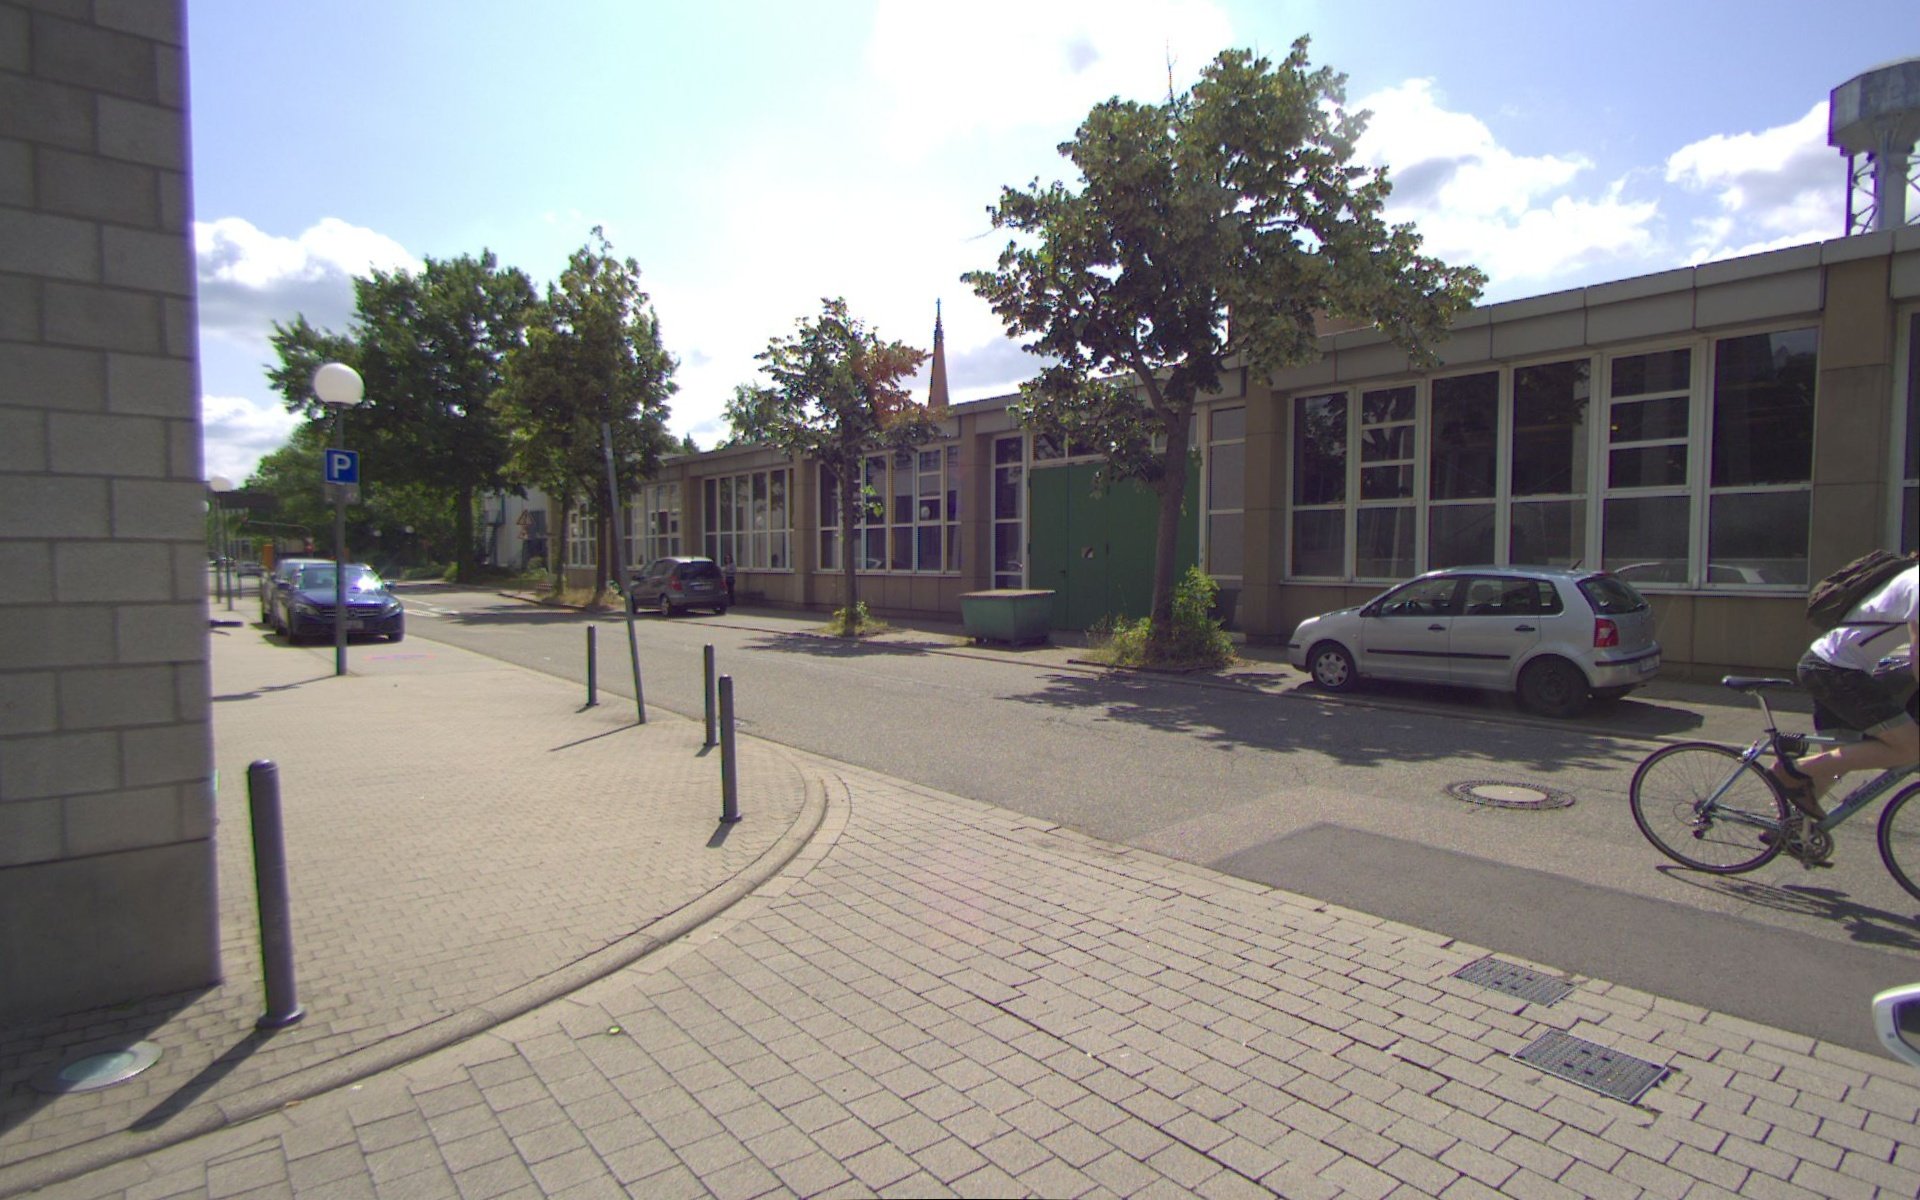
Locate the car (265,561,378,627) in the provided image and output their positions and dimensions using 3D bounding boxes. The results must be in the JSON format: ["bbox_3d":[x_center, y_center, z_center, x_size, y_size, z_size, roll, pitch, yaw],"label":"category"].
[{"bbox_3d":[-15.087,-0.138,23.662,1.828,1.417,3.833,0,1,-39],"label":"car"}]

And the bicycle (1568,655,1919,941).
[{"bbox_3d":[3.994,0.867,4.660,0.701,1.007,1.892,-4,4,-33],"label":"bicycle"}]

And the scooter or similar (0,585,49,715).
[{"bbox_3d":[-9.949,0.464,9.940,1.480,1.228,0.565,2,4,10],"label":"scooter or similar"}]

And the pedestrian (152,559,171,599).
[{"bbox_3d":[-28.963,-0.747,36.427,0.460,1.427,0.460,2,0,-34],"label":"pedestrian"}]

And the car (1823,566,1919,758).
[{"bbox_3d":[9.192,0.495,7.286,1.716,1.455,4.239,-5,4,-40],"label":"car"}]

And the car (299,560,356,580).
[{"bbox_3d":[-51.640,-2.453,81.987,3.647,1.469,1.783,-6,5,-41],"label":"car"}]

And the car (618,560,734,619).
[{"bbox_3d":[-8.079,-0.342,28.411,1.789,1.469,3.633,-5,5,-40],"label":"car"}]

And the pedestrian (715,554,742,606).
[{"bbox_3d":[-7.236,-0.633,31.402,0.601,1.602,0.544,0,1,-42],"label":"pedestrian"}]

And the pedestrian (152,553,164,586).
[{"bbox_3d":[-39.917,-1.520,50.008,0.437,1.651,0.563,2,0,-38],"label":"pedestrian"}]

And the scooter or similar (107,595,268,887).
[{"bbox_3d":[-3.960,0.615,5.116,0.560,1.228,1.492,1,1,-40],"label":"scooter or similar"}]

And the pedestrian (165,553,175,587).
[{"bbox_3d":[-39.554,-1.507,50.290,0.380,1.651,0.513,2,0,-38],"label":"pedestrian"}]

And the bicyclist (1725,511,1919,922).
[{"bbox_3d":[4.143,0.459,4.390,0.712,1.685,1.084,-4,5,-34],"label":"bicyclist"}]

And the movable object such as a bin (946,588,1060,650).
[{"bbox_3d":[0.768,0.310,18.403,1.284,0.998,1.677,-5,4,-38],"label":"movable object such as a bin"}]

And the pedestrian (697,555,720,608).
[{"bbox_3d":[-7.702,-0.561,30.763,0.594,1.602,0.550,1,1,-9],"label":"pedestrian"}]

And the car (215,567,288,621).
[{"bbox_3d":[-24.686,-0.213,34.957,1.785,1.724,3.955,2,0,-39],"label":"car"}]

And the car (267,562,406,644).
[{"bbox_3d":[-12.059,0.030,19.331,1.828,1.417,3.833,0,1,-39],"label":"car"}]

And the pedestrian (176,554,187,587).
[{"bbox_3d":[-39.215,-1.495,50.587,0.380,1.651,0.513,2,0,-38],"label":"pedestrian"}]

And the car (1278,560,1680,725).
[{"bbox_3d":[5.681,0.326,11.348,1.621,1.469,3.708,-5,5,-40],"label":"car"}]

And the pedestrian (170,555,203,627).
[{"bbox_3d":[-17.524,-0.213,22.752,0.547,1.602,0.598,0,1,-43],"label":"pedestrian"}]

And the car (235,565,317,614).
[{"bbox_3d":[-21.357,-0.330,31.305,1.828,1.417,3.833,0,1,-39],"label":"car"}]
